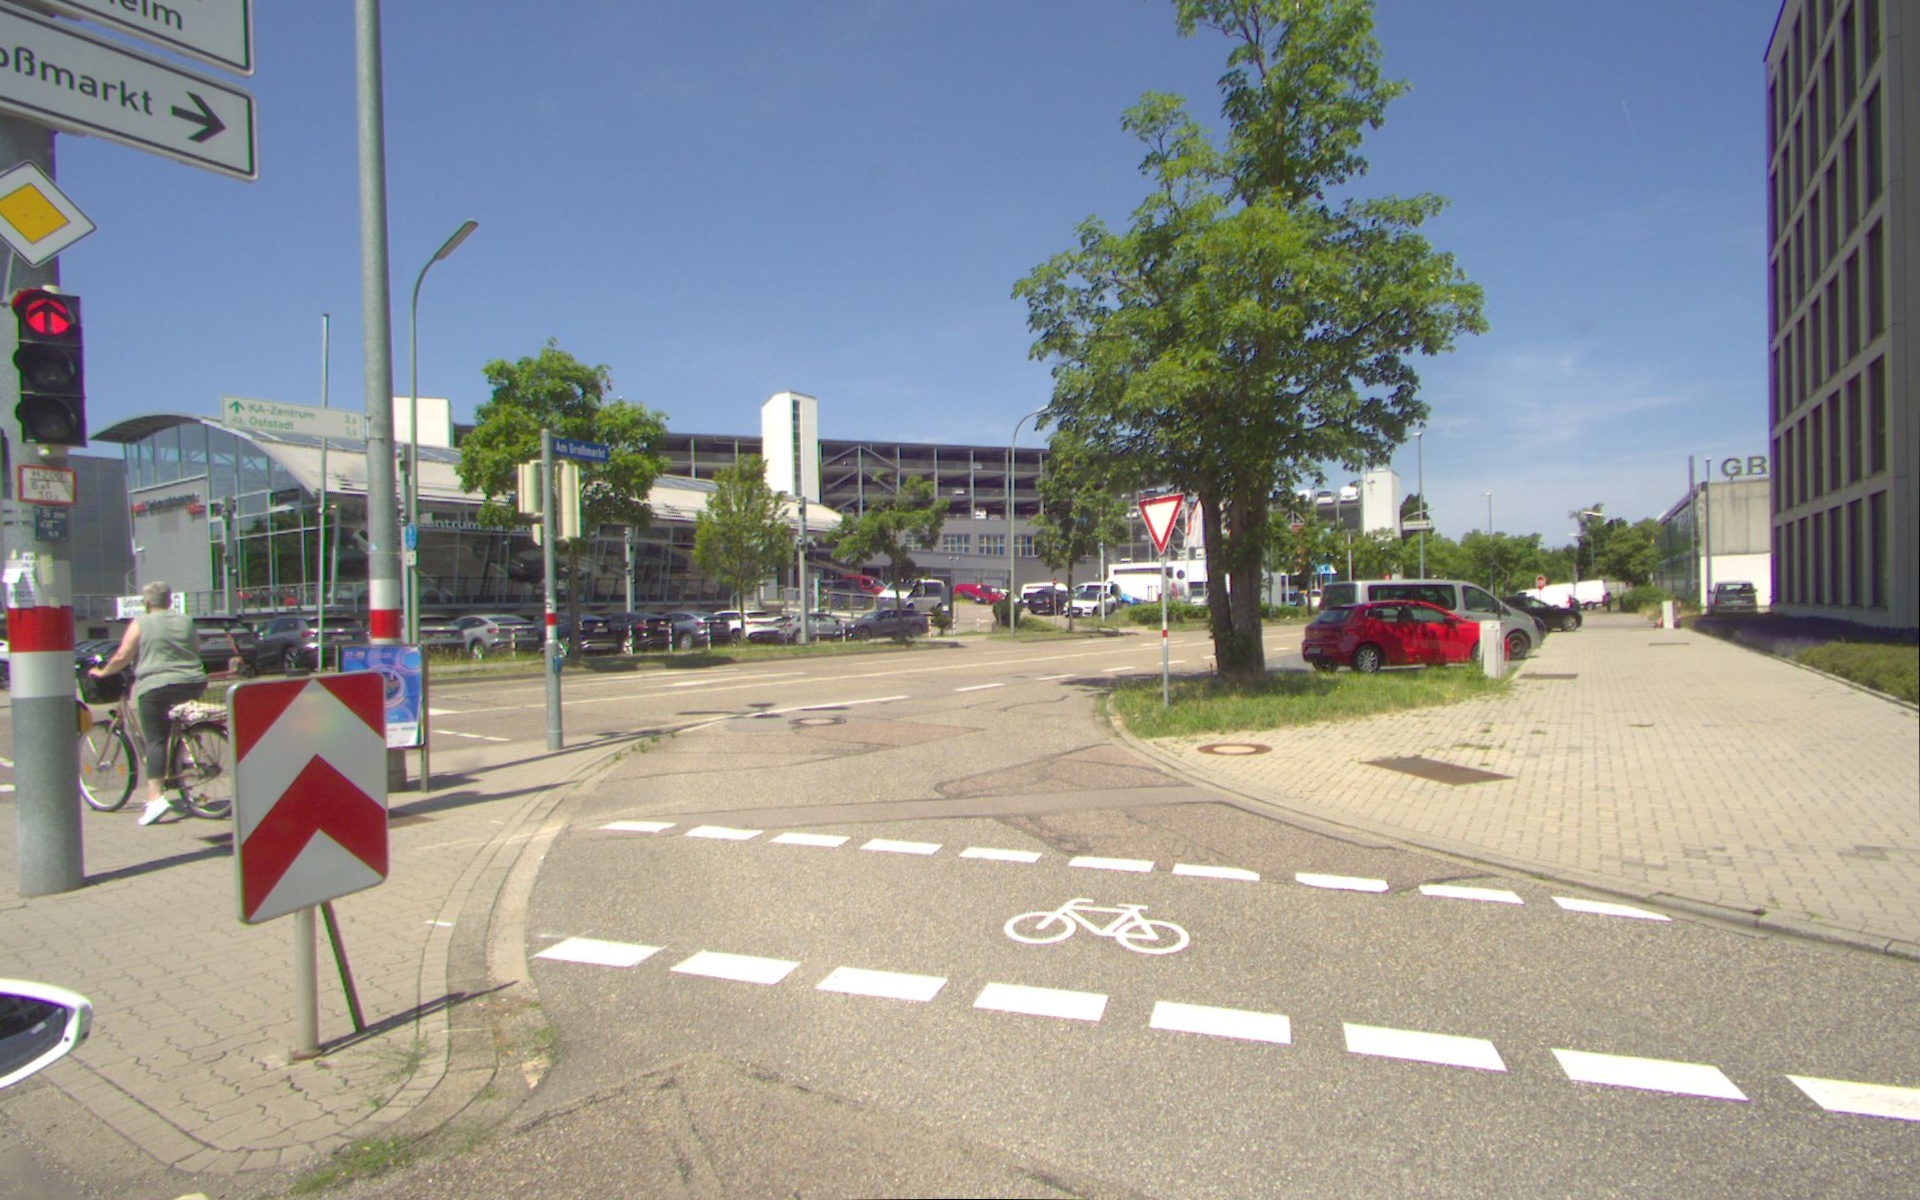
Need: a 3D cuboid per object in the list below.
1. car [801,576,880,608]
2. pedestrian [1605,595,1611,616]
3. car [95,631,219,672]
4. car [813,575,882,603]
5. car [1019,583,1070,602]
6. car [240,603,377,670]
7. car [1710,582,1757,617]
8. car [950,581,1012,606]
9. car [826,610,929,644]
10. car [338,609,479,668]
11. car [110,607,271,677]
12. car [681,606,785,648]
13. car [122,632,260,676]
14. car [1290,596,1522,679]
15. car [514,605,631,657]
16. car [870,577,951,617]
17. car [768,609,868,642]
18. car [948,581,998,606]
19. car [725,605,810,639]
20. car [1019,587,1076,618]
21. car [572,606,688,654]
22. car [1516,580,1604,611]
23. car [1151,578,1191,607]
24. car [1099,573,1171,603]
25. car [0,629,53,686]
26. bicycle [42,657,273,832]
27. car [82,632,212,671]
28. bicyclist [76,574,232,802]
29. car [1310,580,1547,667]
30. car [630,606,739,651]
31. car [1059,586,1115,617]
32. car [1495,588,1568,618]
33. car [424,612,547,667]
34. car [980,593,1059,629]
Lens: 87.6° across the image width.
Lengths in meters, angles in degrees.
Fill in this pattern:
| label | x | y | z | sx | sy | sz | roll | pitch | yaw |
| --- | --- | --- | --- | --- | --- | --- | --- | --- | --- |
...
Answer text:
| label | x | y | z | sx | sy | sz | roll | pitch | yaw |
| --- | --- | --- | --- | --- | --- | --- | --- | --- | --- |
| car | -6.715 | -0.428 | 56.701 | 1.888 | 1.730 | 4.560 | -1 | 0 | 35 |
| pedestrian | 50.307 | 0.441 | 77.724 | 0.399 | 1.580 | 0.546 | -1 | 1 | 33 |
| car | -32.871 | 2.114 | 41.100 | 1.619 | 1.600 | 3.642 | -1 | -3 | 32 |
| car | -7.429 | -0.712 | 66.095 | 4.082 | 1.745 | 1.907 | -1 | 0 | 25 |
| car | 7.812 | -0.696 | 92.295 | 4.294 | 1.674 | 1.904 | -1 | 0 | 31 |
| car | -17.915 | 1.050 | 27.505 | 3.947 | 1.674 | 1.840 | -4 | -4 | 35 |
| car | 42.190 | 0.018 | 54.702 | 1.772 | 1.750 | 3.978 | -1 | -2 | 34 |
| car | 1.654 | -0.493 | 78.016 | 4.525 | 1.821 | 1.903 | -1 | 0 | 34 |
| car | -3.913 | 1.265 | 47.674 | 4.554 | 1.491 | 1.839 | -1 | 0 | -34 |
| car | -16.518 | 1.165 | 29.968 | 3.937 | 1.675 | 1.844 | -1 | -3 | 28 |
| car | -19.553 | 1.089 | 25.388 | 4.442 | 1.578 | 1.863 | -3 | 0 | 33 |
| car | -9.337 | 1.148 | 41.207 | 3.937 | 1.675 | 1.844 | -1 | -3 | 28 |
| car | -30.195 | 2.112 | 39.417 | 1.633 | 1.642 | 3.980 | -1 | -3 | 32 |
| car | 8.922 | 0.730 | 20.181 | 3.923 | 1.451 | 1.699 | -2 | -1 | -7 |
| car | -13.232 | 1.058 | 34.140 | 3.851 | 1.676 | 1.627 | -1 | -1 | 28 |
| car | -2.610 | -0.161 | 54.081 | 1.885 | 1.992 | 5.228 | -1 | 0 | 29 |
| car | -7.032 | 1.249 | 49.686 | 4.527 | 1.491 | 1.902 | -1 | 0 | -34 |
| car | 0.988 | -0.448 | 74.532 | 1.859 | 1.728 | 3.977 | -1 | -1 | 33 |
| car | -9.936 | 1.115 | 51.682 | 3.938 | 1.591 | 1.842 | -1 | 0 | -28 |
| car | 5.404 | 0.183 | 61.277 | 1.970 | 1.727 | 3.983 | -1 | -2 | 30 |
| car | -12.108 | 1.137 | 36.726 | 3.937 | 1.675 | 1.844 | -1 | -3 | 28 |
| car | 53.489 | -0.333 | 89.354 | 6.606 | 2.552 | 2.206 | -1 | -2 | 35 |
| car | 16.365 | -0.553 | 77.660 | 1.812 | 2.039 | 3.981 | -1 | -2 | 31 |
| car | 12.008 | -0.780 | 68.862 | 4.521 | 1.912 | 1.904 | -1 | 0 | 31 |
| car | -25.146 | 1.390 | 24.121 | 1.843 | 1.407 | 4.583 | -2 | -3 | 34 |
| bicycle | -6.102 | 1.037 | 7.597 | 1.864 | 1.148 | 0.628 | 0 | -1 | 26 |
| car | -34.574 | 2.180 | 42.692 | 1.610 | 1.593 | 3.977 | -1 | -3 | 32 |
| bicyclist | -6.115 | 0.641 | 7.607 | 0.812 | 1.626 | 0.628 | -1 | -1 | 26 |
| car | 10.894 | 0.515 | 23.386 | 4.841 | 1.911 | 1.918 | 0 | 0 | -12 |
| car | -10.708 | 1.140 | 38.891 | 3.937 | 1.675 | 1.844 | -1 | -3 | 28 |
| car | 7.667 | 0.140 | 60.225 | 1.970 | 1.727 | 3.983 | -1 | -2 | 30 |
| car | 41.494 | 0.236 | 72.693 | 4.513 | 2.039 | 1.990 | -1 | -2 | 33 |
| car | -15.097 | 1.203 | 31.825 | 3.758 | 1.637 | 1.635 | 0 | 0 | 28 |
| car | 3.047 | 0.553 | 50.350 | 1.888 | 1.717 | 4.560 | -1 | 0 | 35 |
